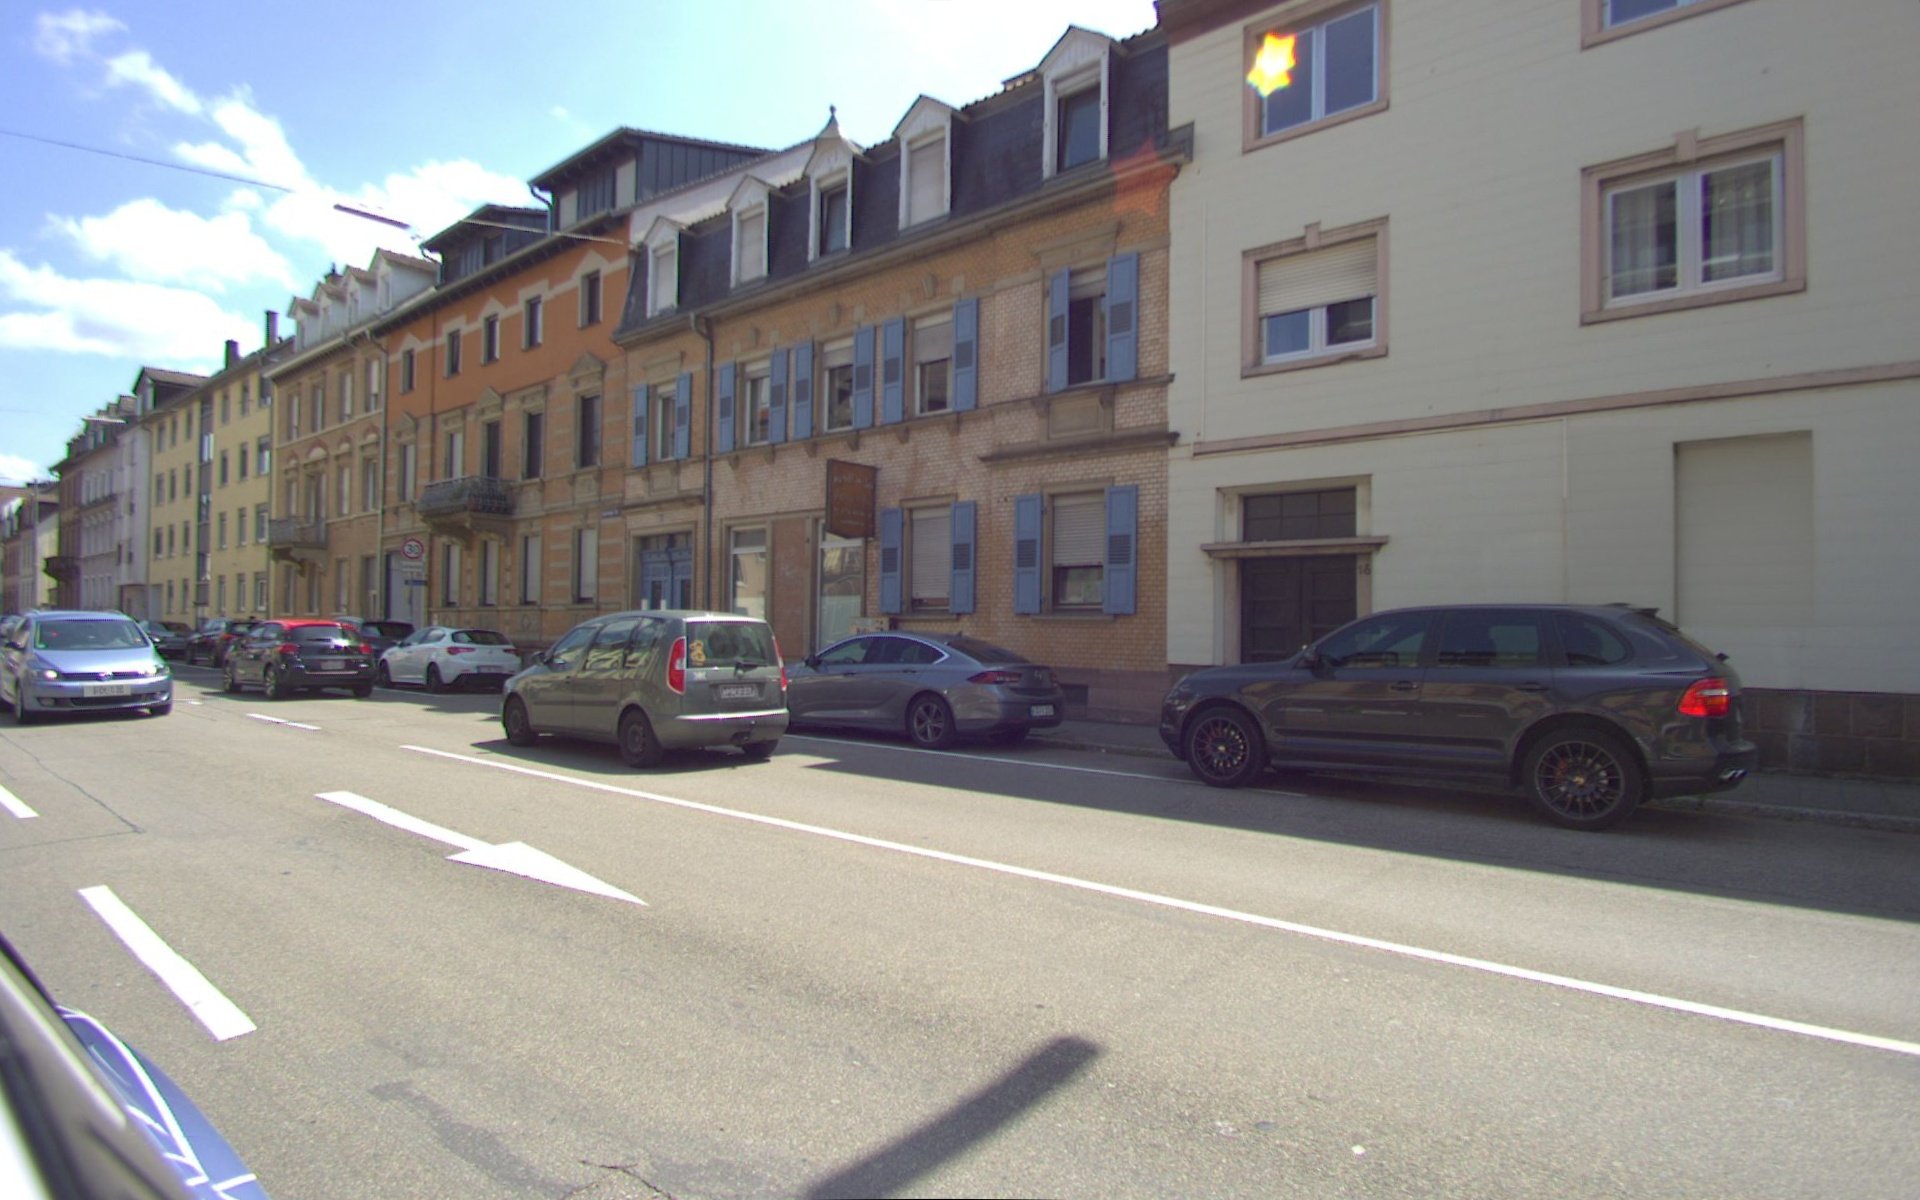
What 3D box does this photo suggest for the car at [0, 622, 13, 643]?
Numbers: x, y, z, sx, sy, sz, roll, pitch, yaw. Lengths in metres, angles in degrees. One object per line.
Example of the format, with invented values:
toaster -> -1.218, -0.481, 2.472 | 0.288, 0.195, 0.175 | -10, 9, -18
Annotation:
car -> -67.196, 2.195, 69.996 | 4.098, 1.421, 1.728 | 0, -6, 37

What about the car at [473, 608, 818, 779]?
car -> -3.687, 0.933, 11.443 | 4.309, 1.587, 1.684 | -1, -3, 41

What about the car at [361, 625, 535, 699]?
car -> -11.551, 1.360, 22.716 | 4.327, 1.437, 1.846 | -1, -6, 40

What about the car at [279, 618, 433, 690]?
car -> -15.511, 1.361, 25.916 | 4.495, 1.640, 1.846 | -1, -6, 39

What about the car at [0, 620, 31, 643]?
car -> -62.880, 2.035, 66.608 | 4.098, 1.421, 1.728 | 0, -6, 37

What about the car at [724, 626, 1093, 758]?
car -> -0.811, 1.153, 13.502 | 4.830, 1.417, 1.847 | 0, -6, 38

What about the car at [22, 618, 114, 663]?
car -> -31.613, 1.432, 35.820 | 4.241, 1.506, 1.742 | -1, -3, 39

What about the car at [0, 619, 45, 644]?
car -> -58.633, 1.959, 62.937 | 4.098, 1.421, 1.728 | 0, -6, 37

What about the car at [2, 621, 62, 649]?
car -> -53.872, 2.014, 58.734 | 4.507, 1.421, 1.728 | 0, -6, 38

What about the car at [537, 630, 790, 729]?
car -> -5.102, 1.311, 17.190 | 4.324, 1.417, 1.847 | 0, -6, 37

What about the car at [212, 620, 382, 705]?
car -> -13.062, 1.165, 19.856 | 4.131, 1.489, 1.684 | -1, -3, 41

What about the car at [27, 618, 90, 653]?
car -> -45.216, 1.815, 50.829 | 1.721, 1.600, 3.963 | 6, -5, -34

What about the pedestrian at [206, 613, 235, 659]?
pedestrian -> -29.109, 1.422, 39.837 | 0.793, 1.769, 0.877 | 3, -3, -42

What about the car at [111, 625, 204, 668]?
car -> -31.253, 1.776, 39.365 | 4.683, 1.463, 1.885 | -1, -6, 41

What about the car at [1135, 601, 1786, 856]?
car -> 4.112, 0.911, 8.888 | 4.815, 1.653, 1.865 | -1, -4, 41

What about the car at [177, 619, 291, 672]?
car -> -24.097, 1.477, 33.557 | 4.496, 1.563, 1.846 | -1, -6, 39

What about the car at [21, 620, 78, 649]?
car -> -49.738, 1.864, 55.245 | 4.282, 1.421, 1.726 | -1, -6, 41

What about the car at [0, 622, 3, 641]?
car -> -71.490, 2.215, 73.781 | 4.098, 1.421, 1.728 | 0, -6, 37

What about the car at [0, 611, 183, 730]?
car -> -13.492, 0.988, 15.494 | 3.998, 1.580, 1.736 | -1, -2, 41
